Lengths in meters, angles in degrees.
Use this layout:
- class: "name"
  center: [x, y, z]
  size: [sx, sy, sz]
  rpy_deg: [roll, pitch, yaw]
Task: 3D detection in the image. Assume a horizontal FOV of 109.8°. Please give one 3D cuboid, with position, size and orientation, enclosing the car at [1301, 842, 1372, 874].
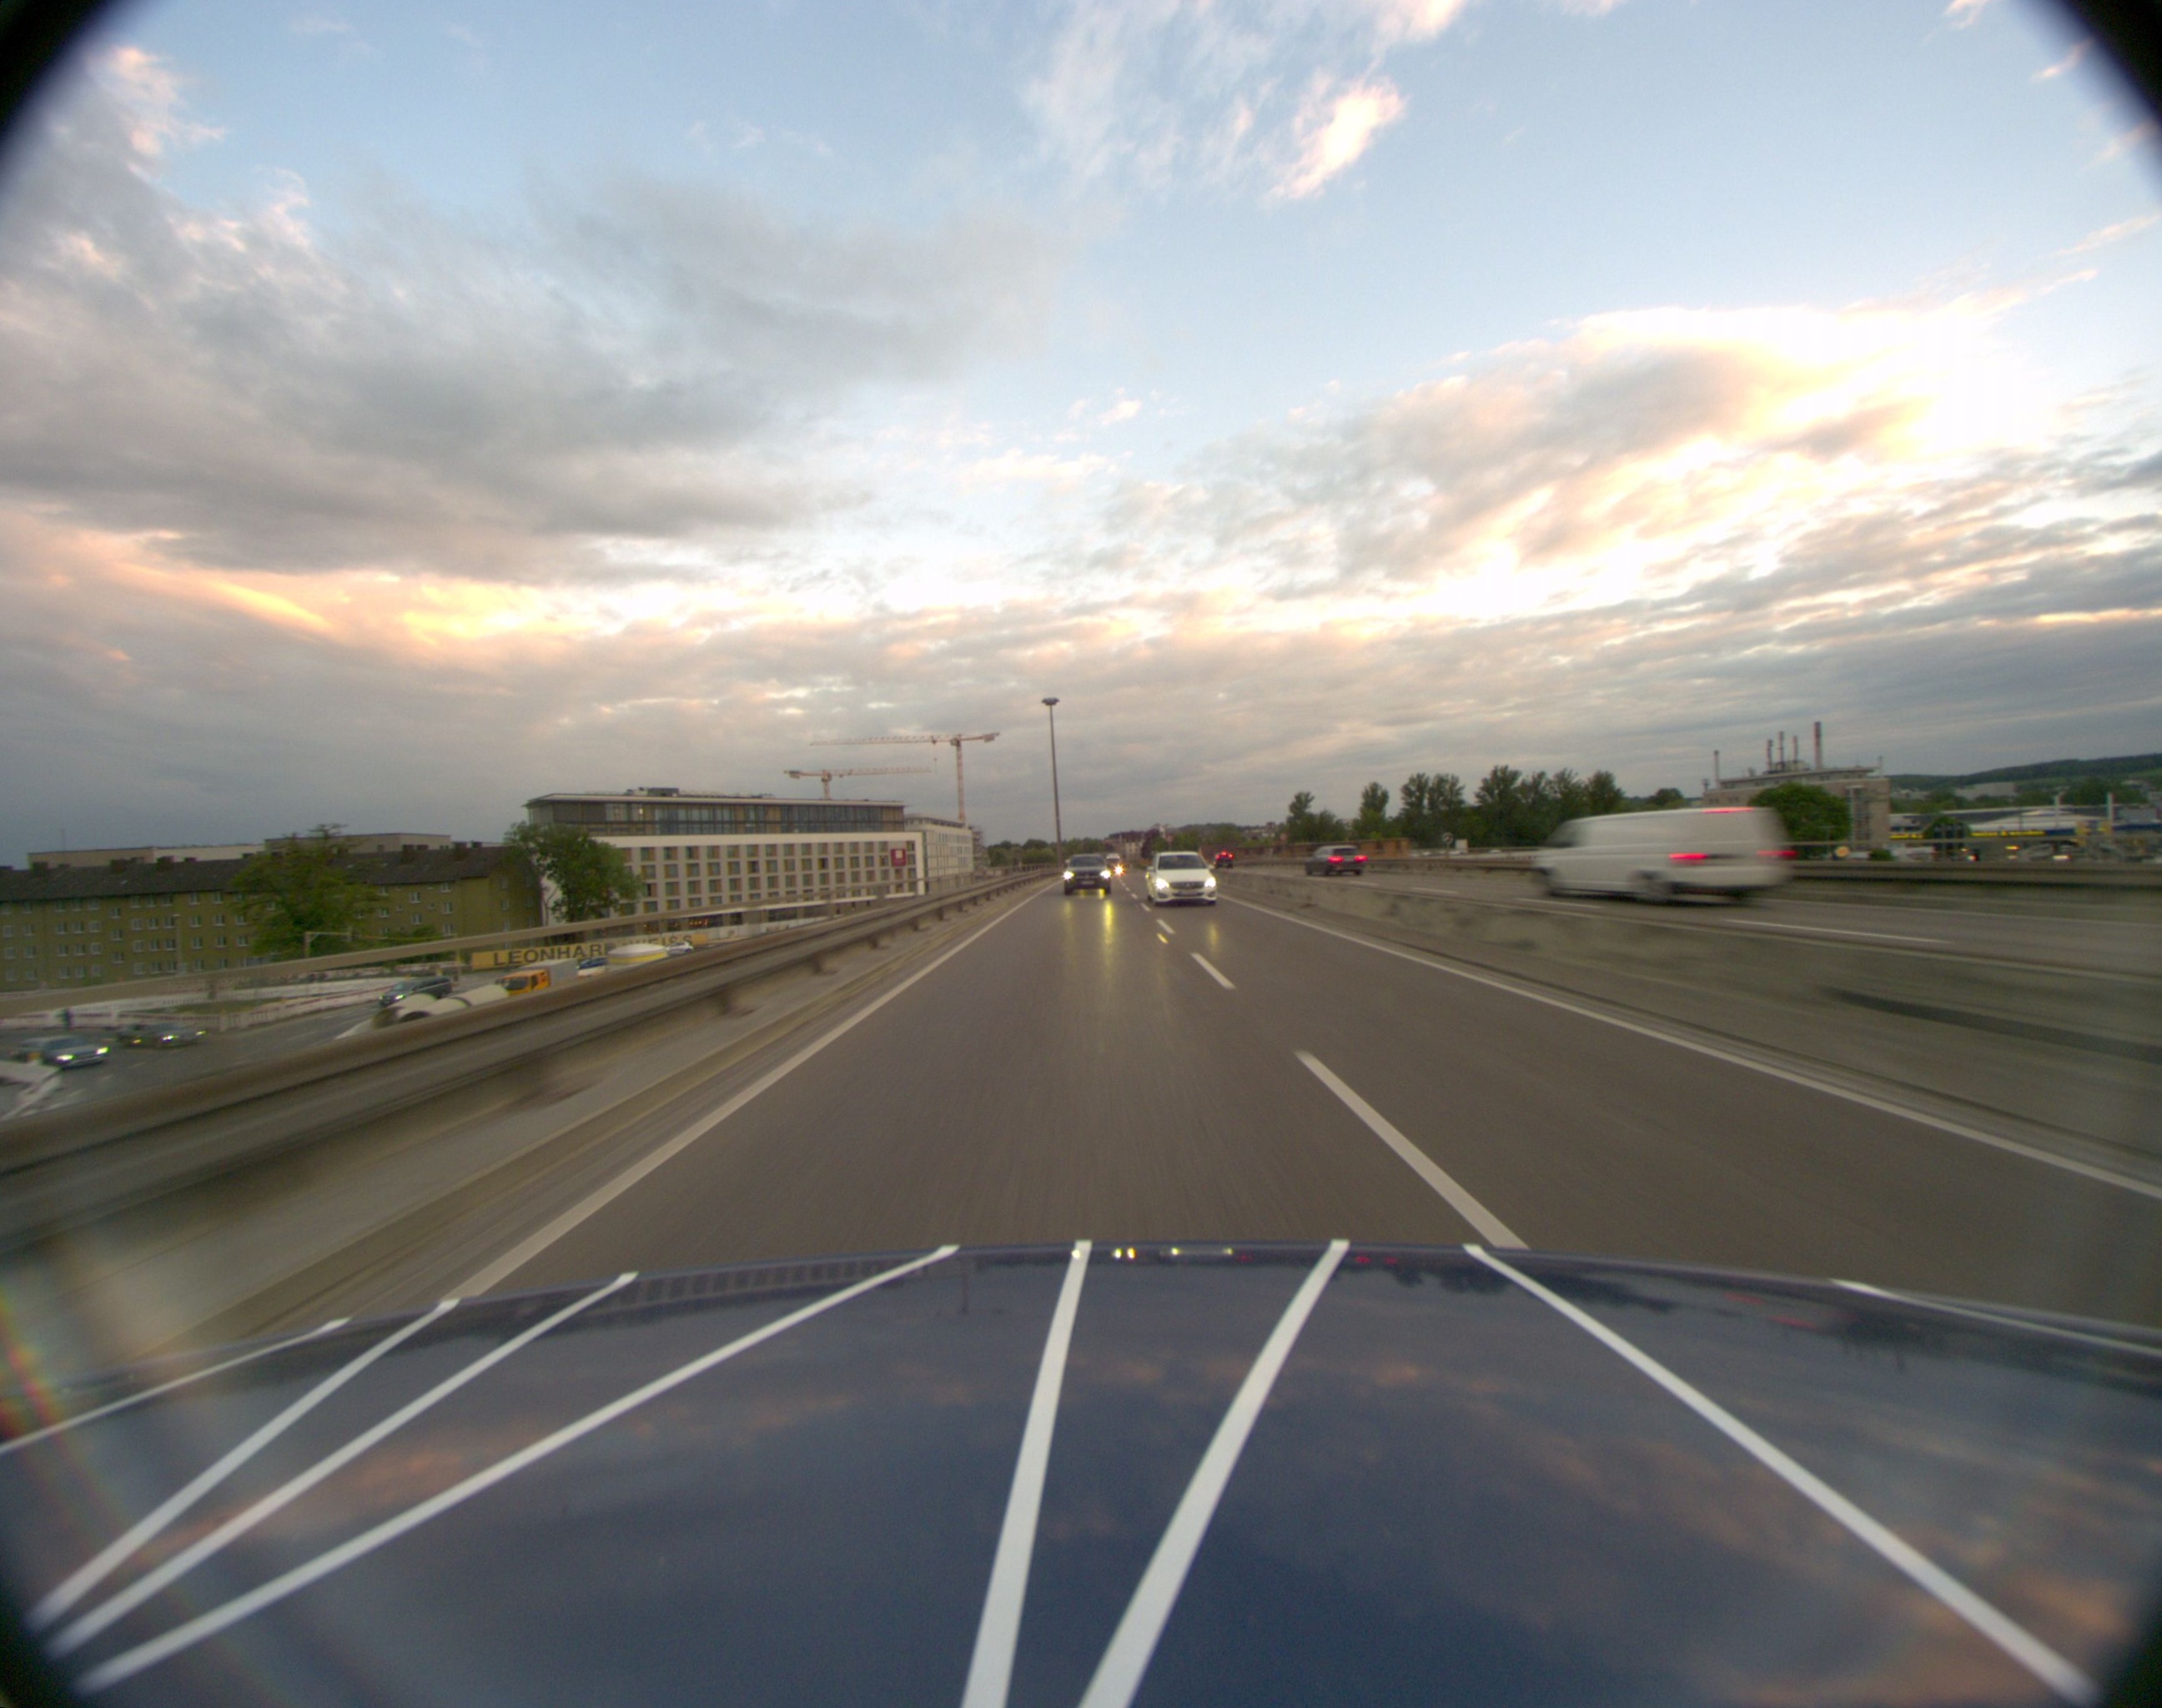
- class: "car"
  center: [12.761, 0.210, 38.287]
  size: [1.833, 1.465, 4.901]
  rpy_deg: [-2, -1, -1]

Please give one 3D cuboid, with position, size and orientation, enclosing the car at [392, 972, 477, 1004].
- class: "car"
  center: [-53.902, 11.137, 63.465]
  size: [1.997, 1.865, 5.099]
  rpy_deg: [-7, -3, 13]

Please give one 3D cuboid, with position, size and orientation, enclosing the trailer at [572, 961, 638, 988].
- class: "trailer"
  center: [-43.003, 10.887, 68.791]
  size: [1.998, 1.339, 5.874]
  rpy_deg: [-8, -1, 1]

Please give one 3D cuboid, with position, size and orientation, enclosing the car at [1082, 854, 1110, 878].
- class: "car"
  center: [1.104, 0.870, 54.674]
  size: [1.891, 1.641, 4.345]
  rpy_deg: [-2, -1, 2]

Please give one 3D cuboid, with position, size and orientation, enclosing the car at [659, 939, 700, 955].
- class: "car"
  center: [-48.190, 11.138, 91.207]
  size: [4.007, 1.433, 1.908]
  rpy_deg: [-2, -2, -38]

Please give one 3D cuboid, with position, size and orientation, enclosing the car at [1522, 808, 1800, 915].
- class: "car"
  center: [12.206, 0.123, 16.642]
  size: [1.906, 1.889, 5.459]
  rpy_deg: [-2, 0, 0]

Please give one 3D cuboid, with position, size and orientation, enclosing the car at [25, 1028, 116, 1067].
- class: "car"
  center: [-56.797, 10.874, 42.723]
  size: [3.788, 1.729, 1.647]
  rpy_deg: [-4, 1, 15]

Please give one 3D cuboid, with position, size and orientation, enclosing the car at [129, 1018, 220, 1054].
- class: "car"
  center: [-57.080, 11.433, 47.871]
  size: [4.095, 1.710, 1.804]
  rpy_deg: [-2, 3, 11]

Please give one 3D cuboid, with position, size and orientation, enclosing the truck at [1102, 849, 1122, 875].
- class: "truck"
  center: [5.662, 1.399, 137.749]
  size: [3.164, 4.369, 8.795]
  rpy_deg: [-2, 0, 5]

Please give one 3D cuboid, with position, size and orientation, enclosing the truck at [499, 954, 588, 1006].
- class: "truck"
  center: [-43.229, 10.038, 61.402]
  size: [2.163, 2.930, 7.335]
  rpy_deg: [-5, -1, -4]

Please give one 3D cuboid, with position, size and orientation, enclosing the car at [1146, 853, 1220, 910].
- class: "car"
  center: [3.017, 0.786, 23.426]
  size: [1.695, 1.528, 4.784]
  rpy_deg: [-2, -1, 1]

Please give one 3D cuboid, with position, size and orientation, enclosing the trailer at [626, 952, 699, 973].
- class: "trailer"
  center: [-40.779, 10.565, 74.134]
  size: [5.877, 1.340, 2.024]
  rpy_deg: [-2, 1, -18]

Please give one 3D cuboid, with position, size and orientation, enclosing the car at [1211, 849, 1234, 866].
- class: "car"
  center: [14.108, 0.366, 75.842]
  size: [1.661, 1.584, 4.043]
  rpy_deg: [-2, 0, 2]

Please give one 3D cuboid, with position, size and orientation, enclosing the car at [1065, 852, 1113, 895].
- class: "car"
  center: [0.361, 0.766, 31.113]
  size: [1.823, 1.602, 4.213]
  rpy_deg: [-1, -1, 2]
